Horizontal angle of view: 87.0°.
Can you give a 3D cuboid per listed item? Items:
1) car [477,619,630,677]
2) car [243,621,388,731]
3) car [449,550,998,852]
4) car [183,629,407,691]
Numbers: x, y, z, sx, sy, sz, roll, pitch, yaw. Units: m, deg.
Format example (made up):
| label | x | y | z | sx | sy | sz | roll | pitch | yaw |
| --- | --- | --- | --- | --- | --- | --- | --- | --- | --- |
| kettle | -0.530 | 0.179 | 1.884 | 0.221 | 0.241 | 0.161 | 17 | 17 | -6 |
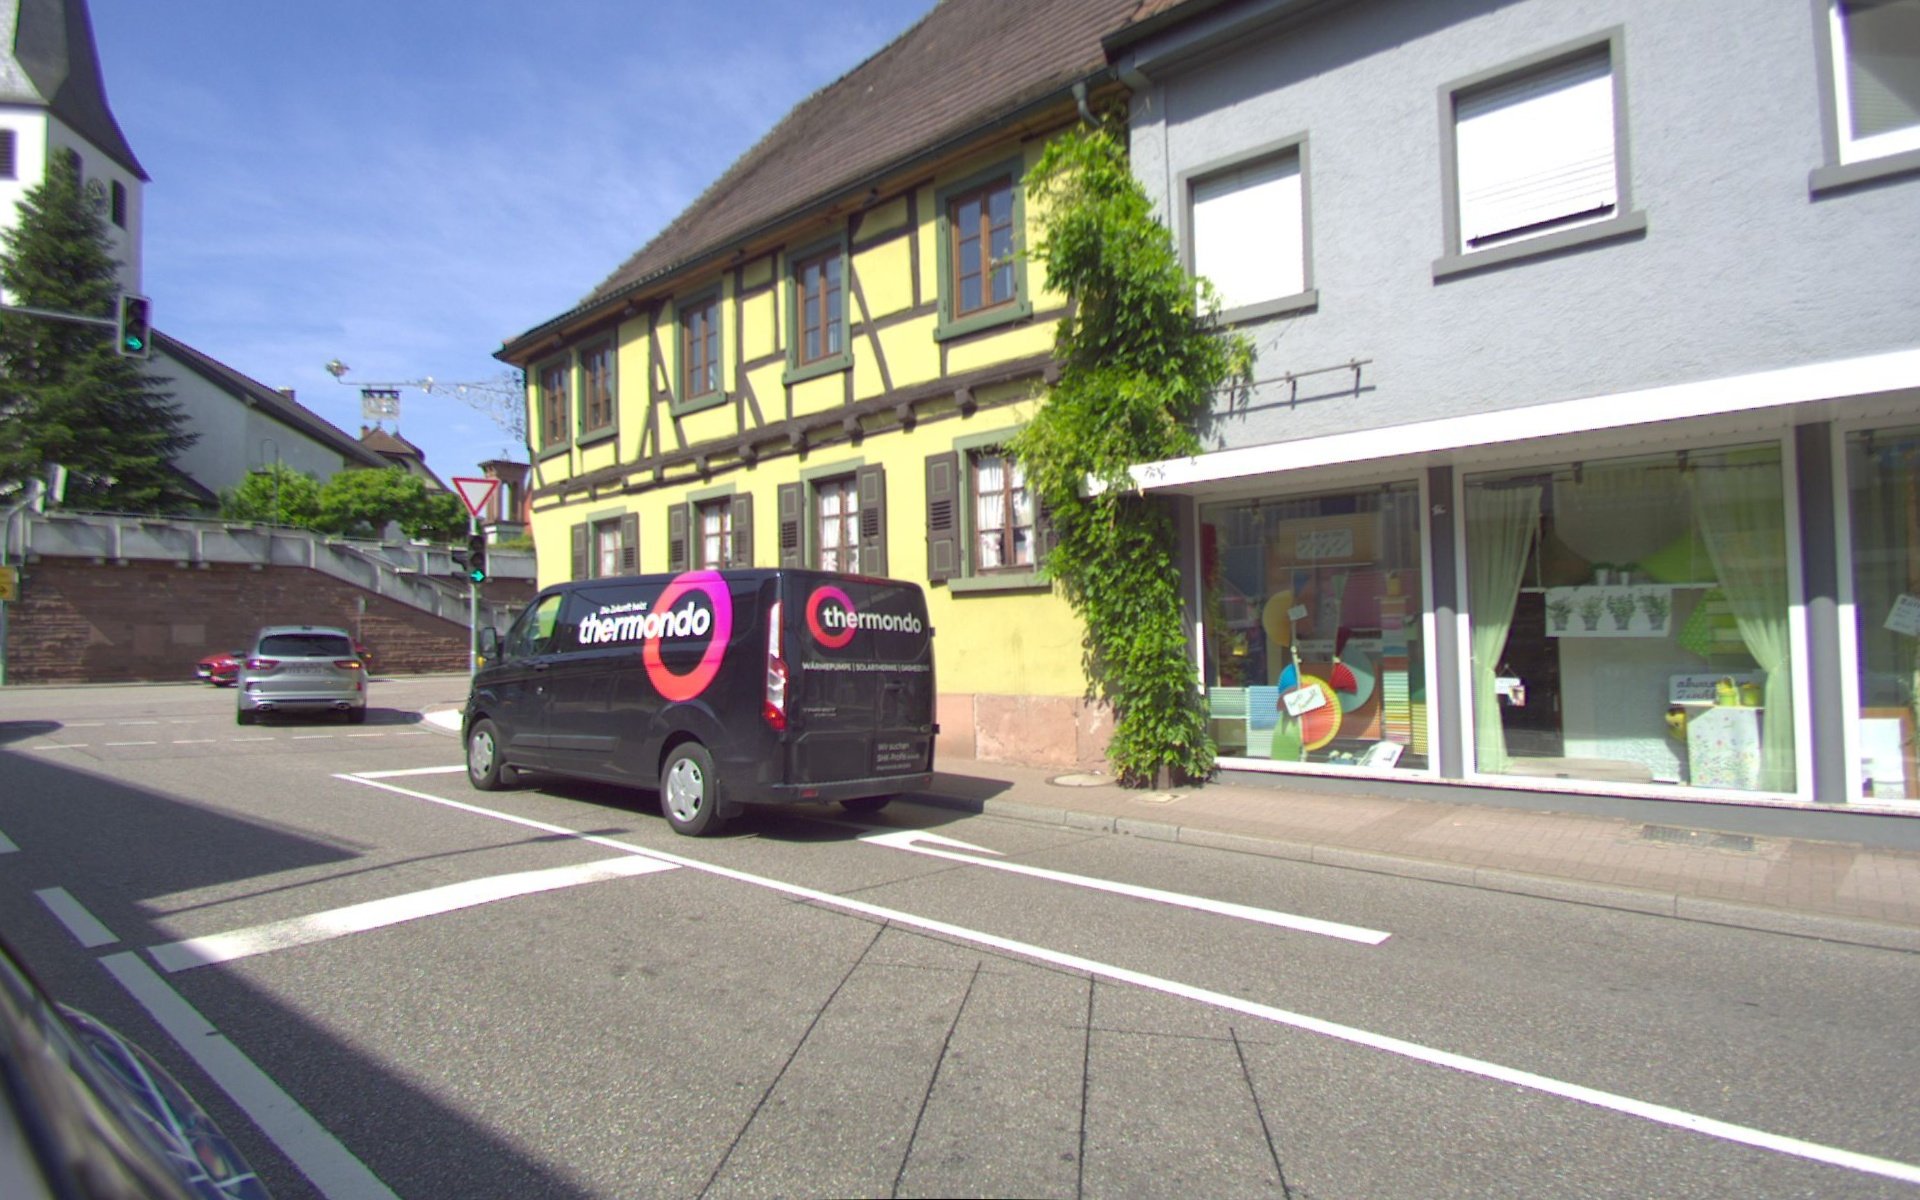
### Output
| label | x | y | z | sx | sy | sz | roll | pitch | yaw |
| --- | --- | --- | --- | --- | --- | --- | --- | --- | --- |
| car | -14.459 | 1.669 | 36.300 | 1.823 | 1.921 | 4.904 | -2 | -2 | 36 |
| car | -11.069 | 1.228 | 17.241 | 1.732 | 1.622 | 4.438 | 4 | -4 | -36 |
| car | -2.335 | 0.776 | 9.023 | 5.163 | 1.938 | 2.136 | -2 | -5 | 41 |
| car | -18.687 | 1.627 | 28.706 | 2.157 | 1.527 | 4.897 | -1 | -1 | 30 |
